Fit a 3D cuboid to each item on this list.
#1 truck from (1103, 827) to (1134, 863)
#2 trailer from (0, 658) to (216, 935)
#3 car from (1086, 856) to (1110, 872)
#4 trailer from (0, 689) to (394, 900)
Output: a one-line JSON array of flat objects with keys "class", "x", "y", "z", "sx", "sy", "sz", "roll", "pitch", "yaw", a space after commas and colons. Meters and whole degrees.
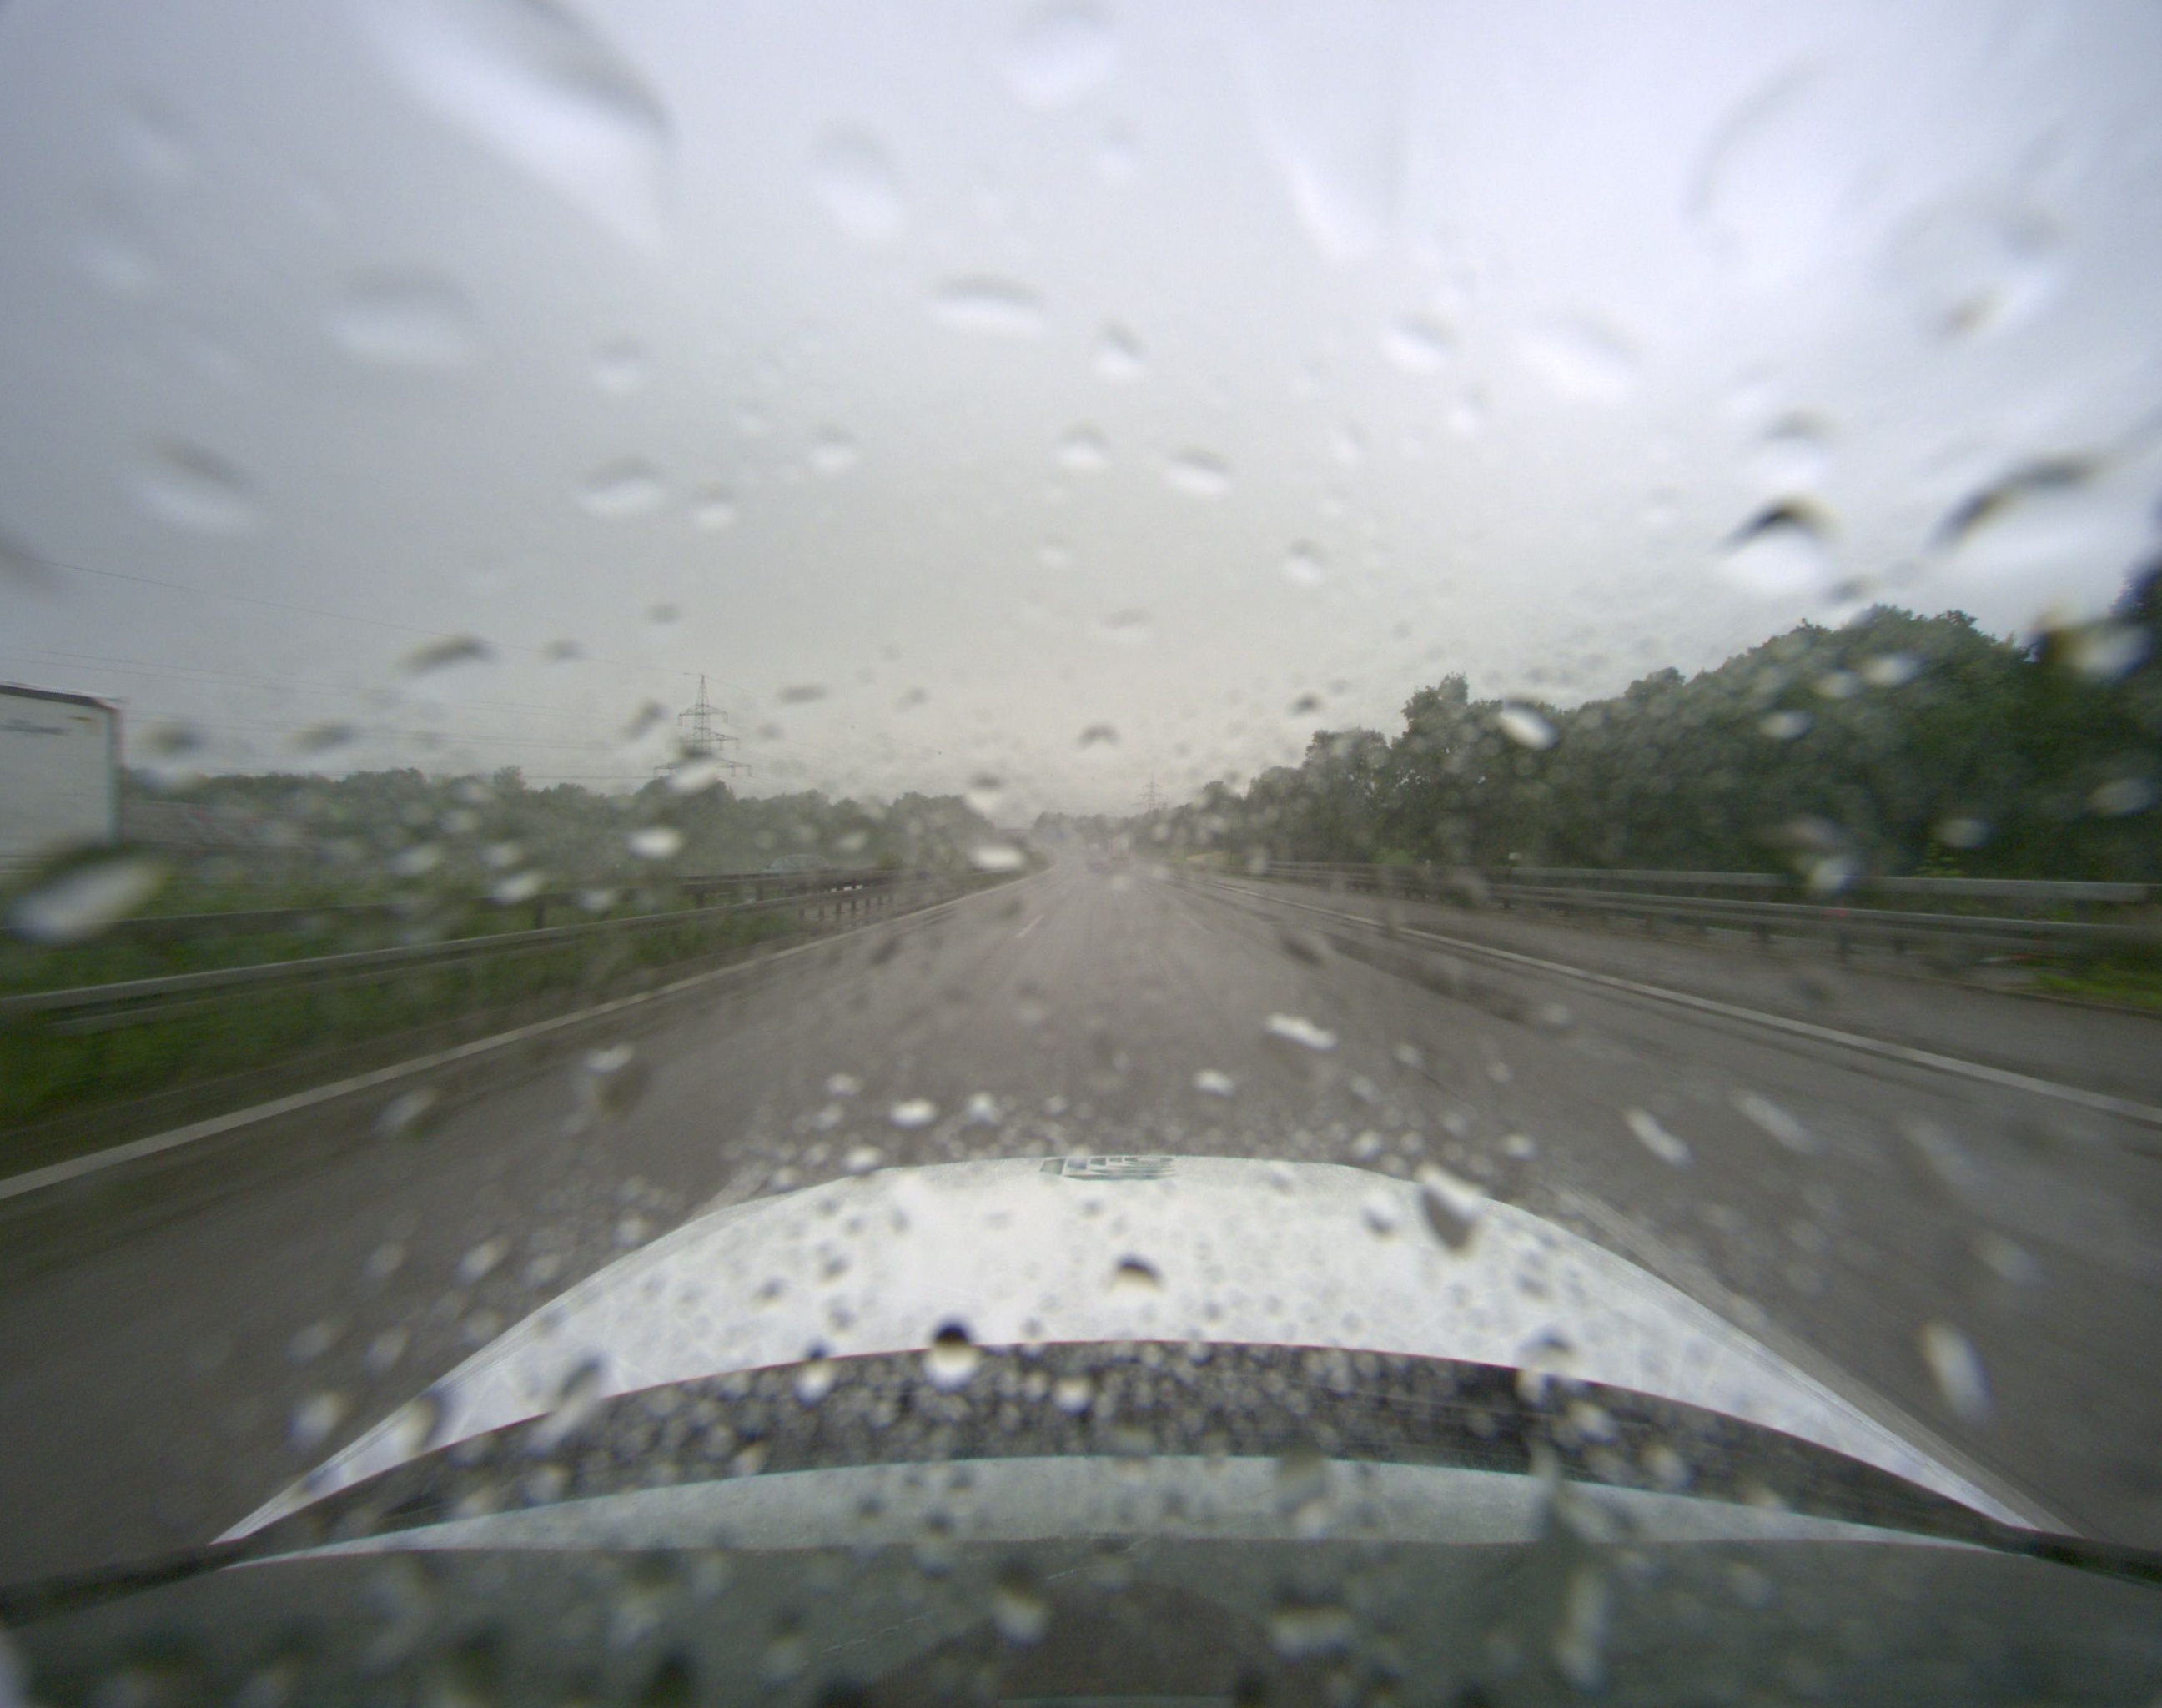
[{"class": "truck", "x": 5.818, "y": -1.363, "z": 123.060, "sx": 4.238, "sy": 4.972, "sz": 17.357, "roll": -1, "pitch": 0, "yaw": 3}, {"class": "trailer", "x": -15.912, "y": -0.799, "z": 6.580, "sx": 2.323, "sy": 3.721, "sz": 13.937, "roll": 3, "pitch": 0, "yaw": 2}, {"class": "car", "x": 1.466, "y": 0.800, "z": 68.552, "sx": 1.741, "sy": 1.212, "sz": 4.005, "roll": 2, "pitch": 0, "yaw": 4}, {"class": "trailer", "x": -20.650, "y": -1.122, "z": 15.464, "sx": 2.913, "sy": 3.756, "sz": 13.552, "roll": 3, "pitch": 0, "yaw": 3}]
